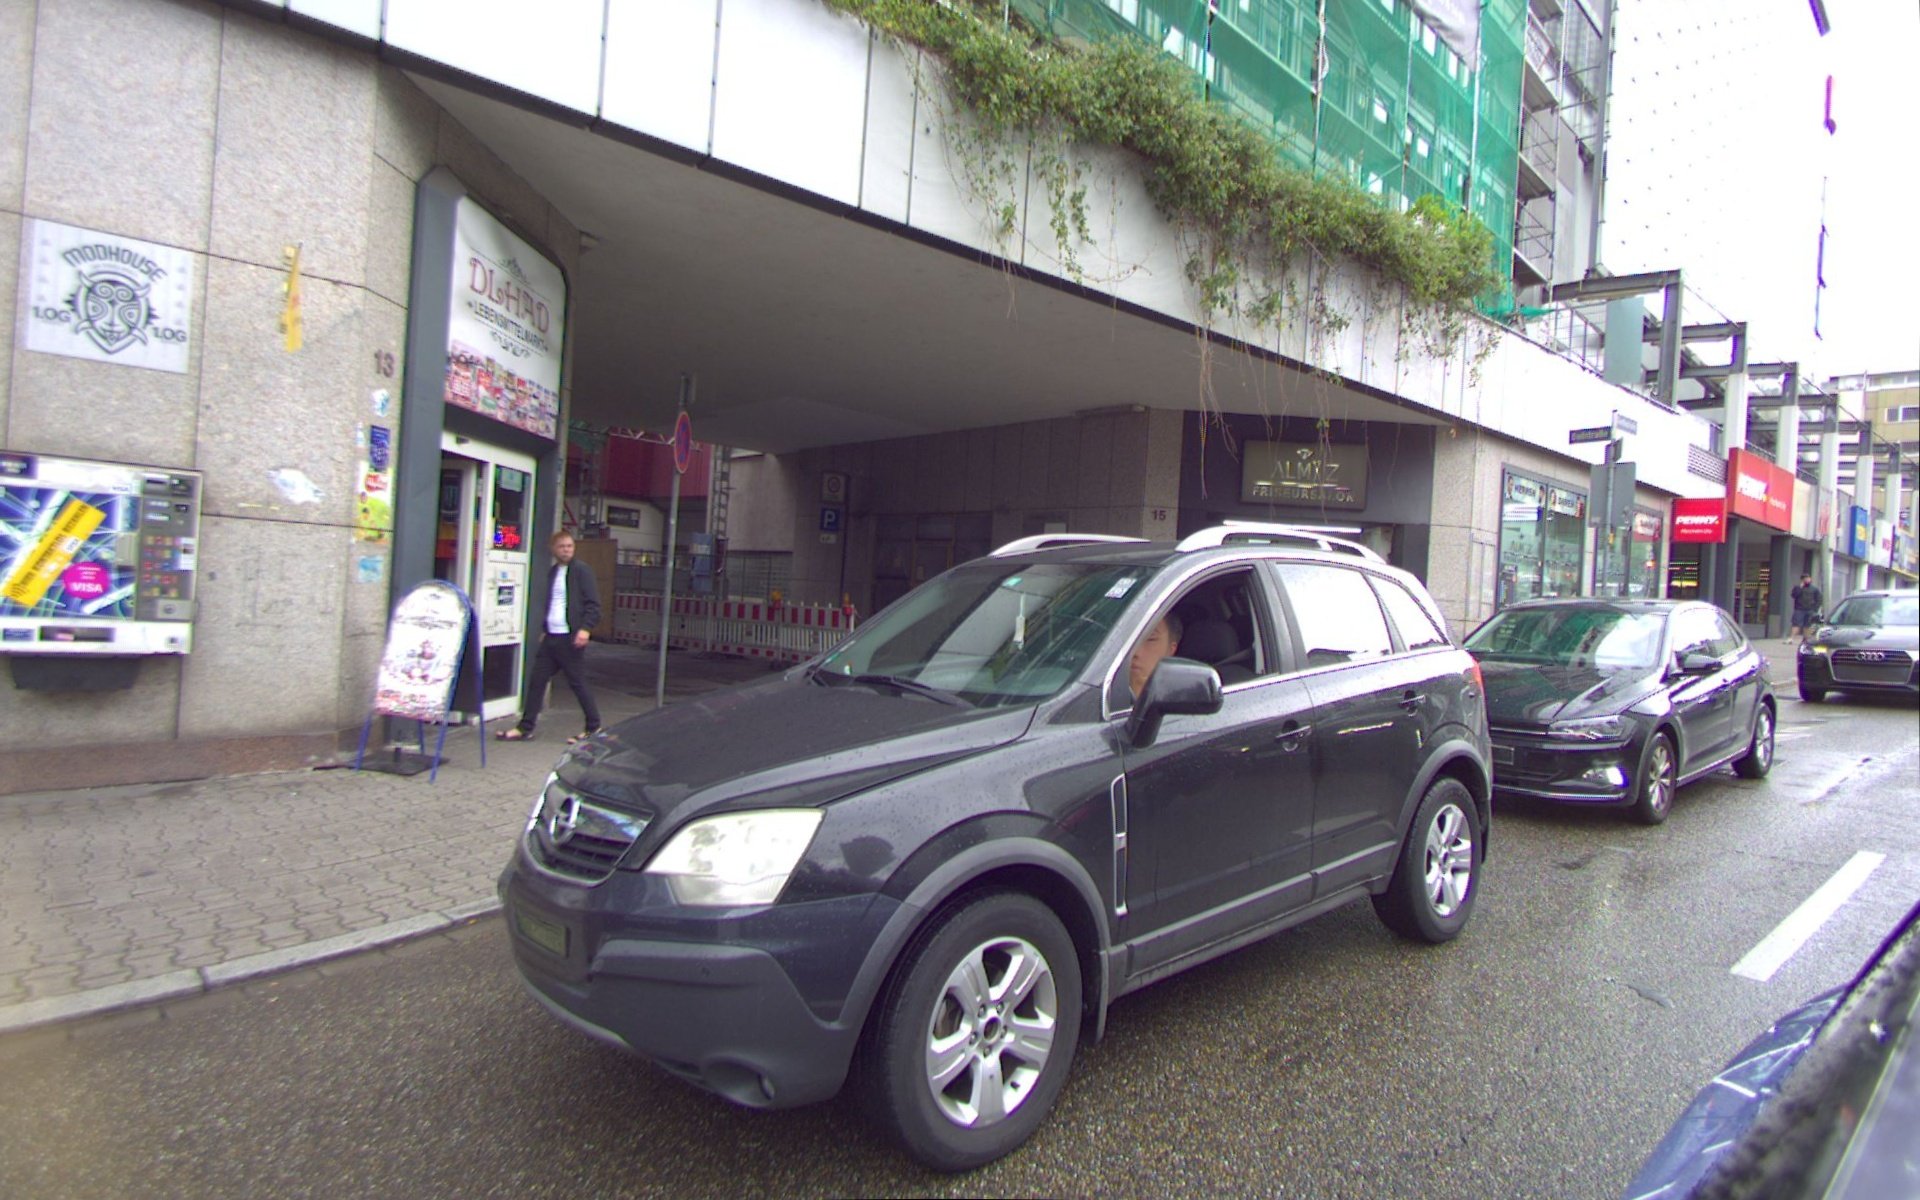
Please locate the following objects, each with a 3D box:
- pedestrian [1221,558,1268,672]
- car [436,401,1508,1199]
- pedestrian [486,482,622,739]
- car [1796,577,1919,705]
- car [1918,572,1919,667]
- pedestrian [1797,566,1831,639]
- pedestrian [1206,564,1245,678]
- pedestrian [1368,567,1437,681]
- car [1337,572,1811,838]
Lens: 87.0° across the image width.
[{"bbox_3d":[4.152,0.206,14.772,0.630,1.615,0.574,0,1,17],"label":"pedestrian"},{"bbox_3d":[0.407,0.520,3.992,4.090,1.788,1.763,1,0,-41],"label":"car"},{"bbox_3d":[-3.125,0.057,7.776,0.760,1.838,0.743,0,3,-40],"label":"pedestrian"},{"bbox_3d":[13.590,0.498,14.433,4.089,1.628,1.841,-1,1,-39],"label":"car"},{"bbox_3d":[19.729,0.389,19.038,4.088,1.728,1.988,1,0,-39],"label":"car"},{"bbox_3d":[20.536,0.049,24.339,0.570,1.699,0.509,-1,3,-42],"label":"pedestrian"},{"bbox_3d":[4.092,0.310,15.604,0.474,1.729,0.467,-1,0,1],"label":"pedestrian"},{"bbox_3d":[6.660,0.341,15.247,0.626,1.663,0.735,-1,1,-17],"label":"pedestrian"},{"bbox_3d":[4.839,0.621,7.762,4.086,1.523,1.759,1,0,-38],"label":"car"}]
